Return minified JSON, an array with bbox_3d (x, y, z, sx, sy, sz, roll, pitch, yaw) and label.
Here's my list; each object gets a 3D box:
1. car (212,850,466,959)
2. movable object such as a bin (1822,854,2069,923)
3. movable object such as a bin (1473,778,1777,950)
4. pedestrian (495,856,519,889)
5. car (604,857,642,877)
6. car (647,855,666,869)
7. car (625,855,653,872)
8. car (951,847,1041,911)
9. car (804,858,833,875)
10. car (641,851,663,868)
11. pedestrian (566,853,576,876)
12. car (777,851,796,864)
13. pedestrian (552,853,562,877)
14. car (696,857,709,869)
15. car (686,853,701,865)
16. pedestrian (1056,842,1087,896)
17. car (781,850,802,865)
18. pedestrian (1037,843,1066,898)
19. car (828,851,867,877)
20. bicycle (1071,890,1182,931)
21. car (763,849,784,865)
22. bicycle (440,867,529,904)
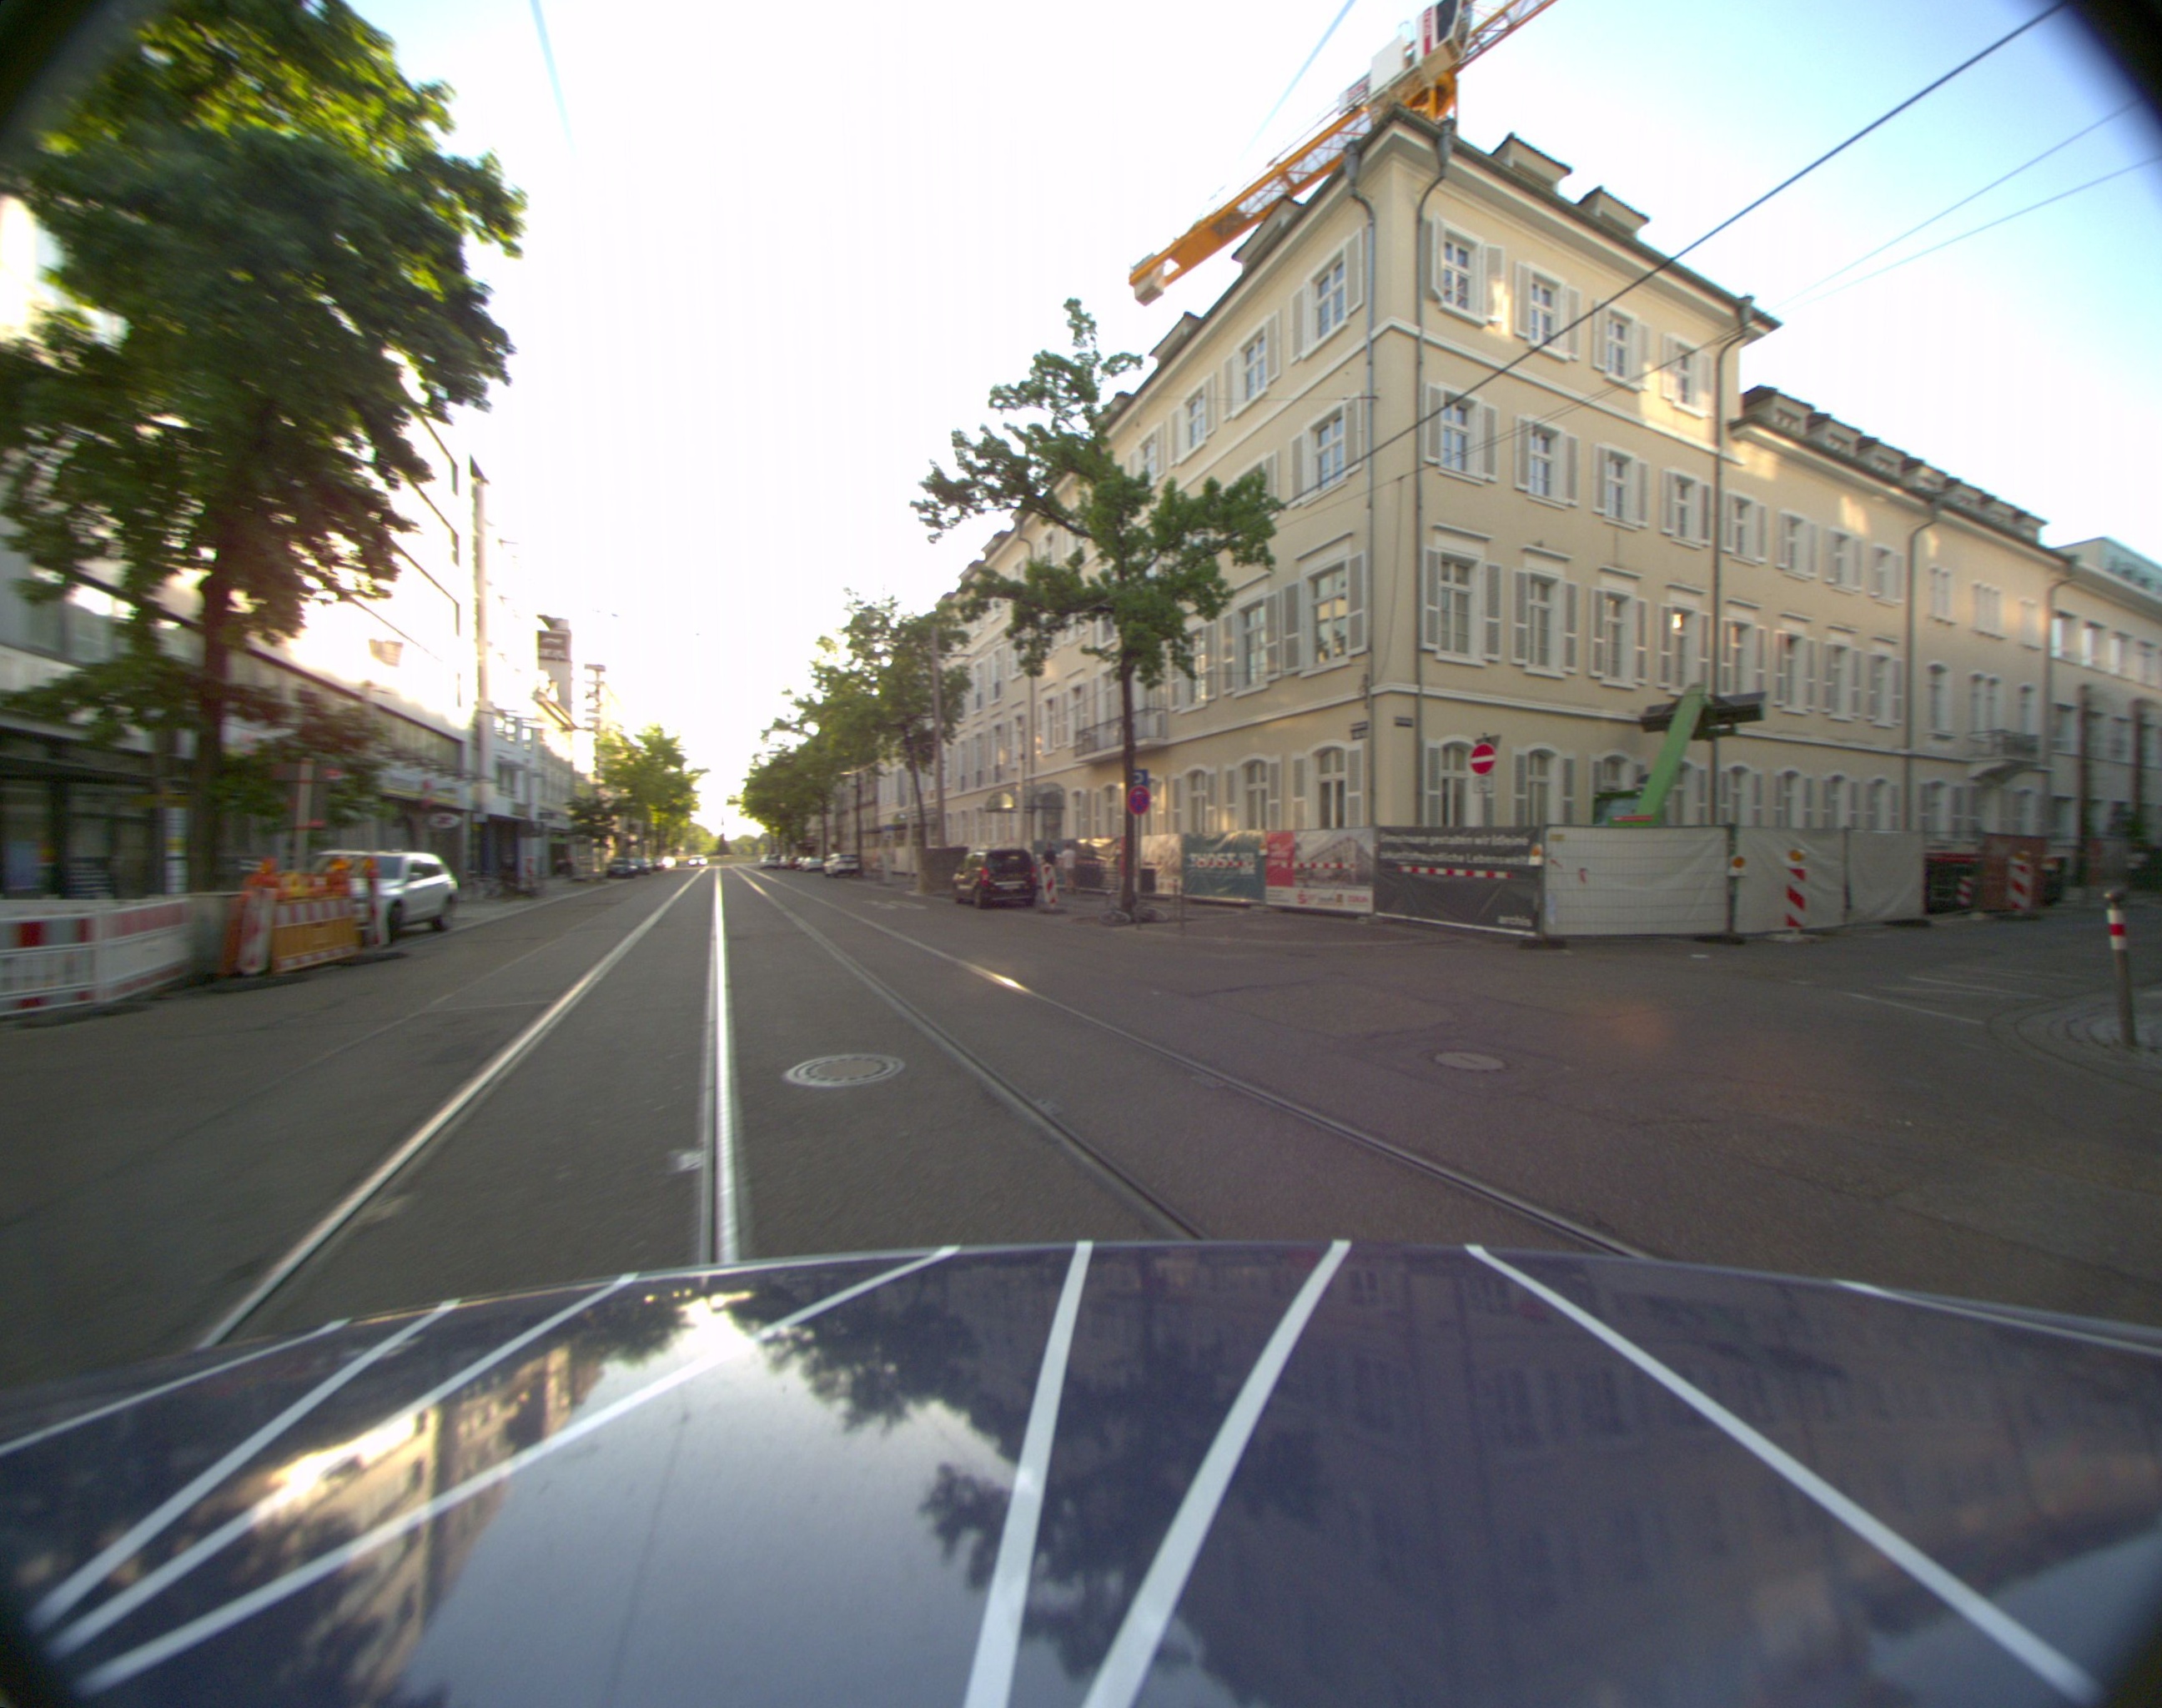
[{"bbox_3d":[-14.117,0.858,14.881,2.003,1.760,4.660,2,-1,-24],"label":"car"},{"bbox_3d":[24.587,0.882,21.552,7.305,1.655,2.893,1,1,-27],"label":"movable object such as a bin"},{"bbox_3d":[10.798,0.155,15.045,5.573,2.856,2.637,0,1,-28],"label":"movable object such as a bin"},{"bbox_3d":[-27.427,0.859,36.306,0.731,1.549,0.837,0,1,-24],"label":"pedestrian"},{"bbox_3d":[-33.306,0.952,55.380,2.007,1.354,4.096,1,0,-26],"label":"car"},{"bbox_3d":[-47.192,0.844,84.530,1.690,1.472,3.838,-1,1,-27],"label":"car"},{"bbox_3d":[-37.255,0.777,64.124,1.742,1.311,4.095,2,0,-27],"label":"car"},{"bbox_3d":[-2.777,0.715,24.026,1.775,1.755,3.870,-3,2,-22],"label":"car"},{"bbox_3d":[-24.076,1.112,69.558,2.003,1.494,4.096,-1,1,-26],"label":"car"},{"bbox_3d":[-44.900,0.538,79.611,1.906,1.683,4.095,-1,1,-28],"label":"car"},{"bbox_3d":[-34.665,0.728,51.644,0.478,1.547,0.746,0,1,-26],"label":"pedestrian"},{"bbox_3d":[-36.101,0.367,92.998,2.002,1.540,4.096,-1,1,-24],"label":"car"},{"bbox_3d":[-35.320,0.739,51.216,0.478,1.538,0.746,0,2,-26],"label":"pedestrian"},{"bbox_3d":[-56.867,1.265,114.203,1.742,1.727,4.095,-1,1,-27],"label":"car"},{"bbox_3d":[-55.550,0.727,108.944,1.742,1.727,4.096,-1,1,-26],"label":"car"},{"bbox_3d":[-0.350,0.527,27.064,0.760,1.874,0.878,-3,2,-25],"label":"pedestrian"},{"bbox_3d":[-33.419,0.386,87.651,2.002,1.567,4.096,-1,1,-24],"label":"car"},{"bbox_3d":[-1.034,0.553,26.562,0.680,1.874,0.767,-3,2,-25],"label":"pedestrian"},{"bbox_3d":[-16.366,0.650,53.109,2.003,1.727,4.096,-1,1,-26],"label":"car"},{"bbox_3d":[1.016,1.227,16.947,2.080,0.702,1.327,-1,1,-32],"label":"bicycle"},{"bbox_3d":[-35.711,0.336,88.192,2.002,1.727,4.096,-1,1,-24],"label":"car"},{"bbox_3d":[-19.778,1.046,25.246,2.168,1.152,0.760,2,1,-20],"label":"bicycle"}]
